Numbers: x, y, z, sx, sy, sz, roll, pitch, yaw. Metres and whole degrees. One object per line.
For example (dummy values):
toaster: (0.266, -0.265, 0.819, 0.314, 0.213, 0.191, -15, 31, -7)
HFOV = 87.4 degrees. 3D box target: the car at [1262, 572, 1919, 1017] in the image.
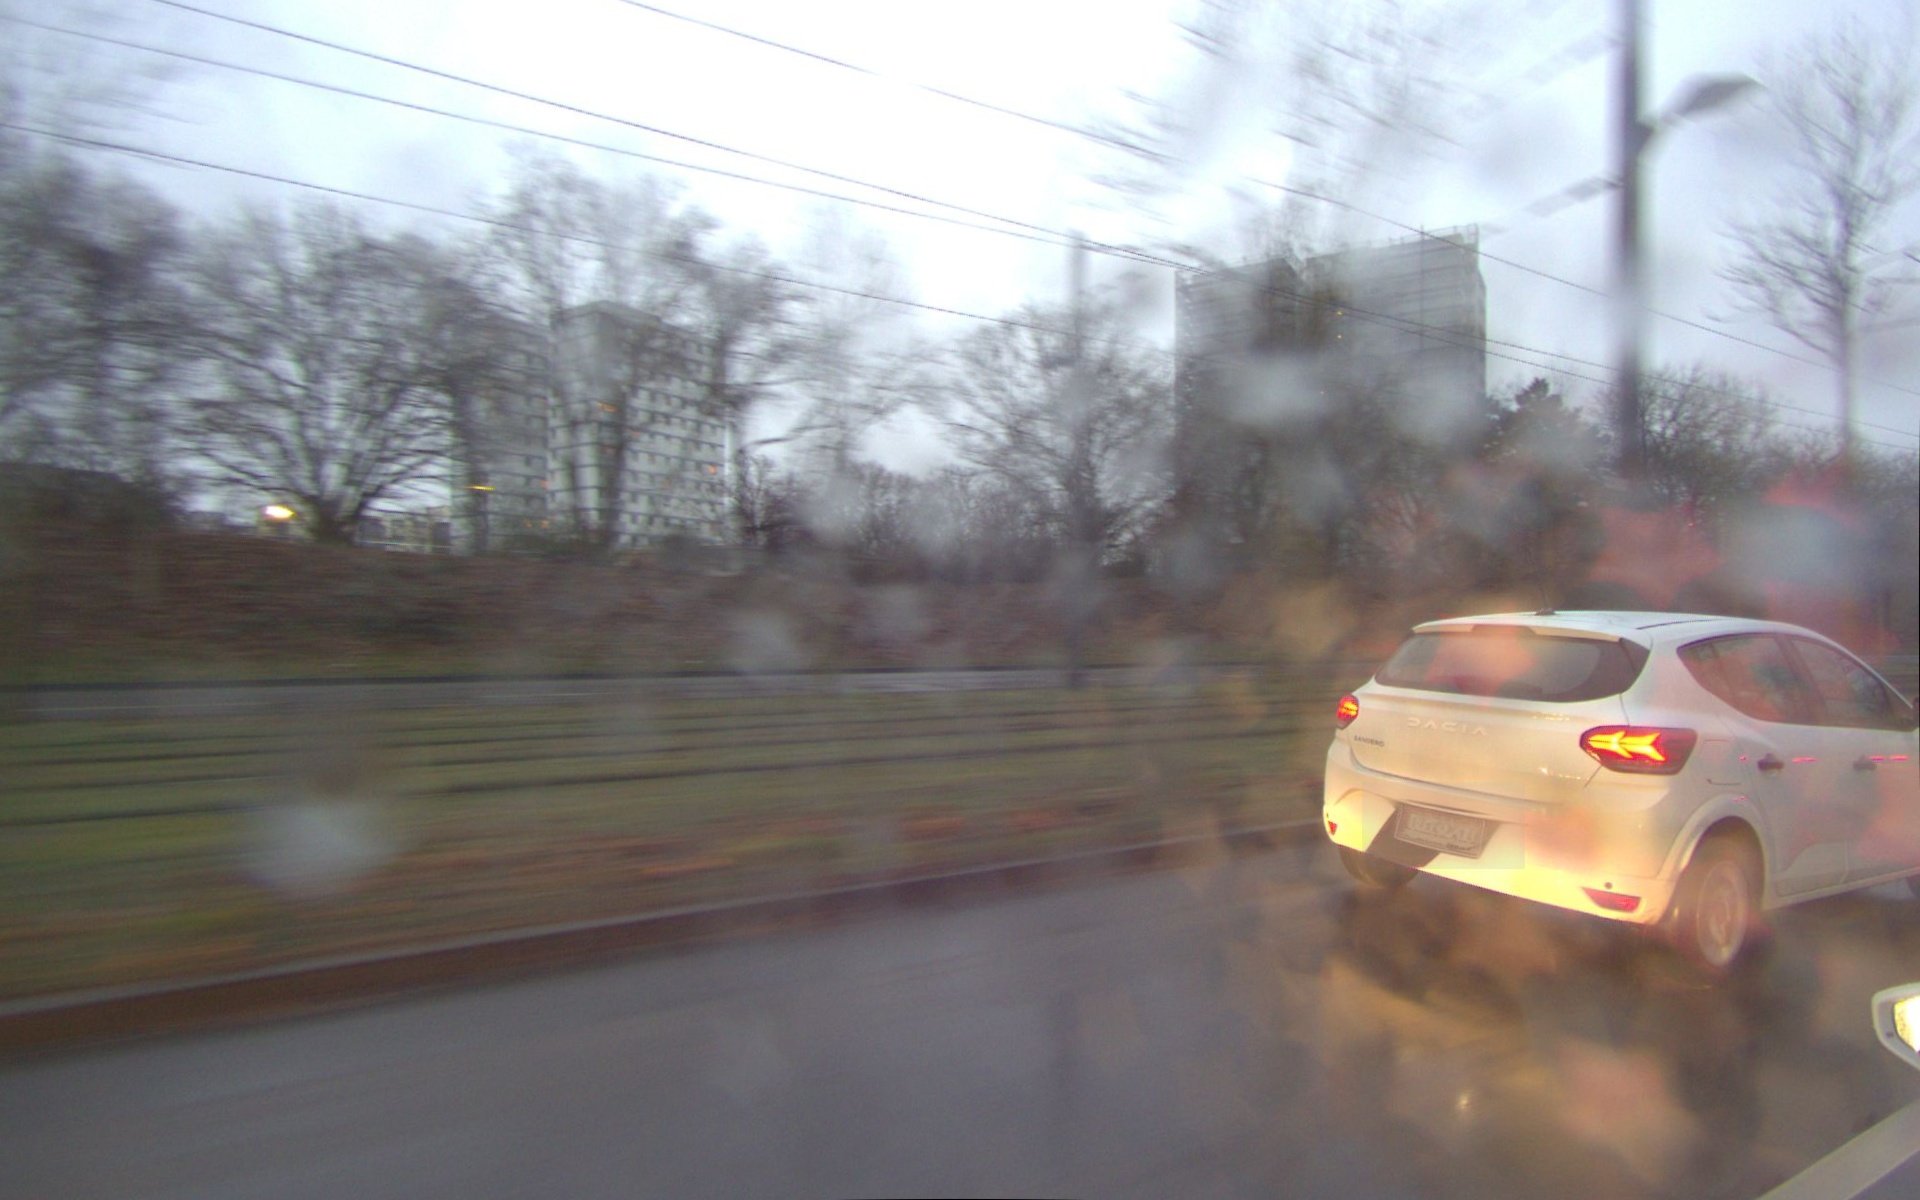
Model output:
car: (3.682, 0.723, 5.266, 4.085, 1.545, 1.701, 1, -1, -30)
